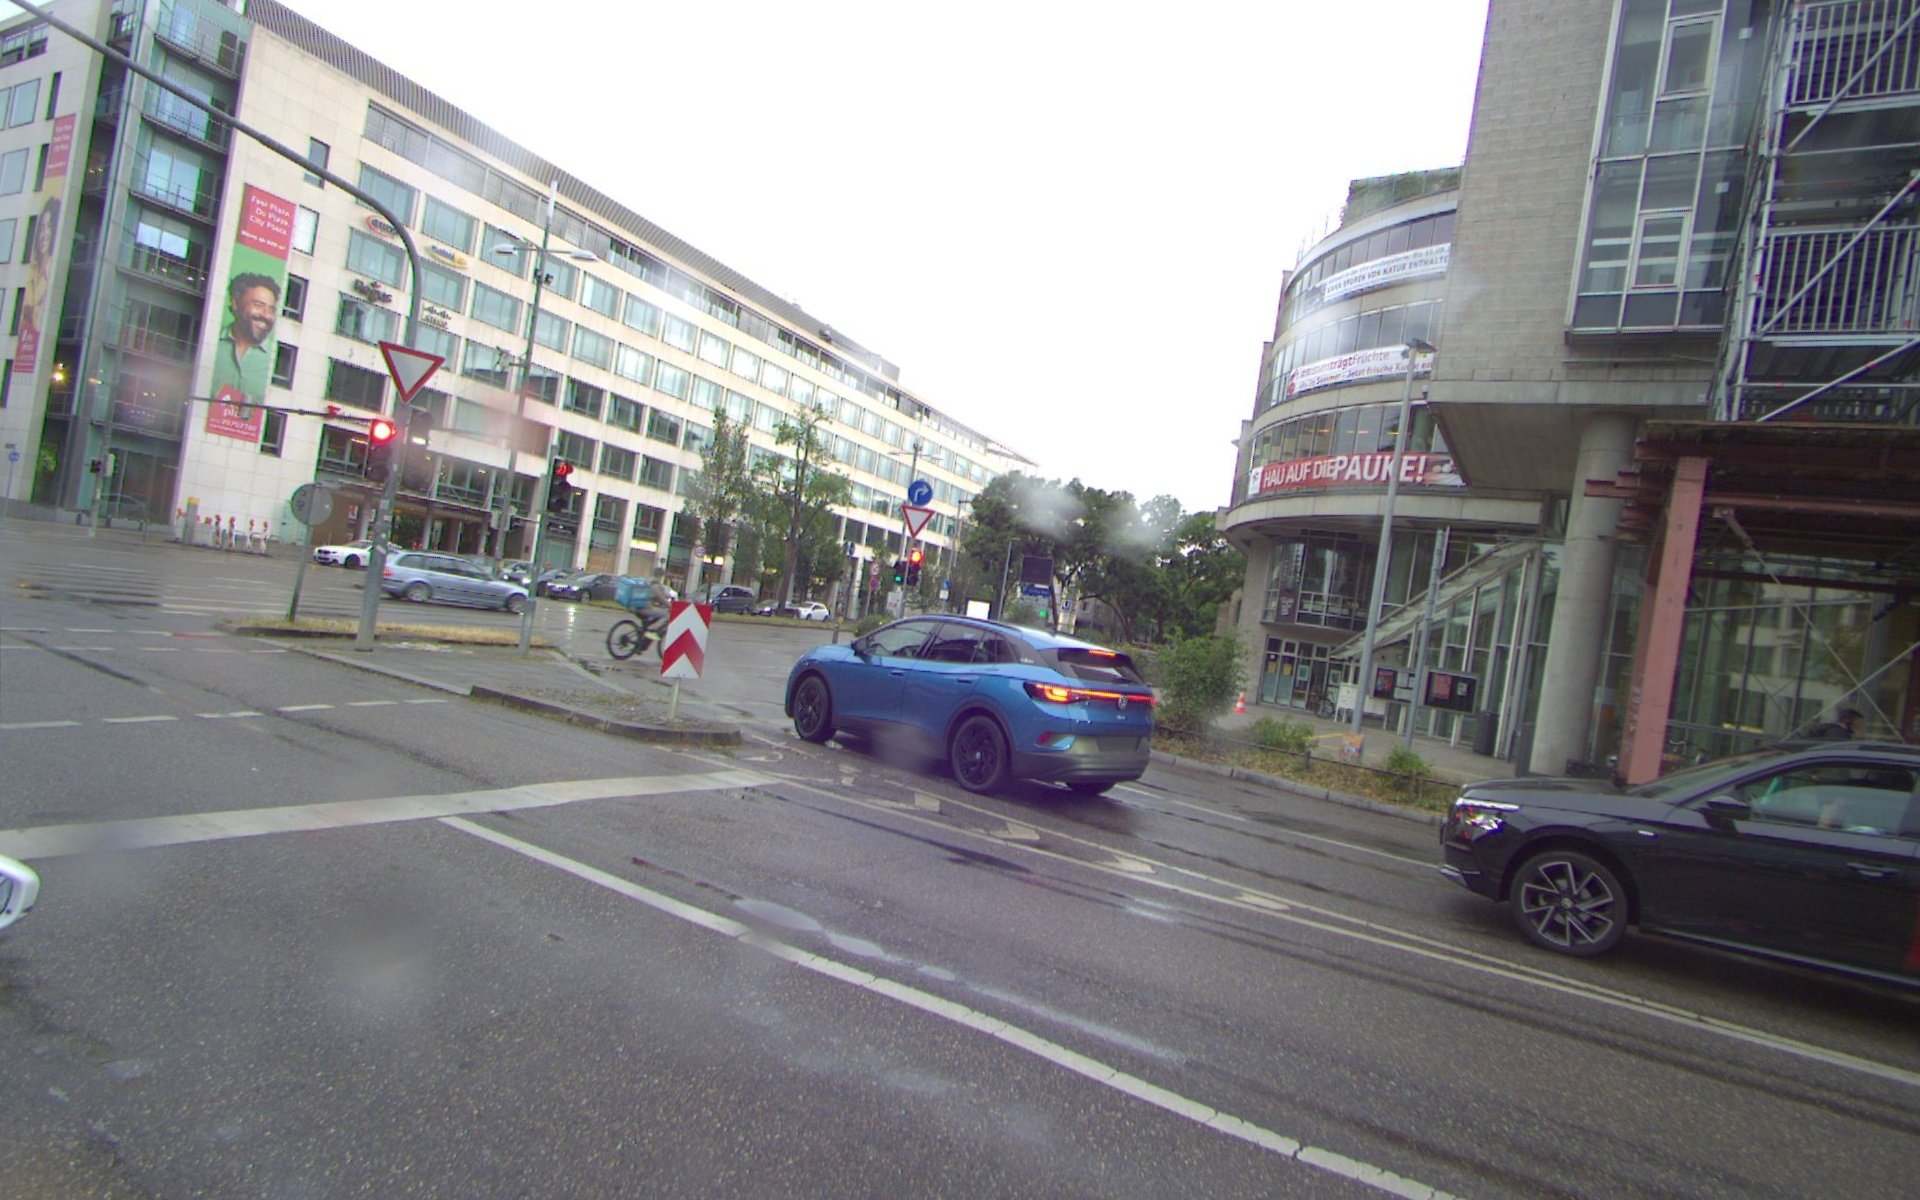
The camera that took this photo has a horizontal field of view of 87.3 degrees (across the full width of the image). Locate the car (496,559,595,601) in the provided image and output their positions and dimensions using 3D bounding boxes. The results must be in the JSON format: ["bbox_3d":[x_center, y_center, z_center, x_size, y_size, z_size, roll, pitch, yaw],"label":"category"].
[{"bbox_3d":[-19.191,-0.883,46.767,1.690,1.364,4.469,7,-2,17],"label":"car"}]

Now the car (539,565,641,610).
[{"bbox_3d":[-16.501,-0.512,45.093,1.690,1.481,4.468,7,-2,19],"label":"car"}]

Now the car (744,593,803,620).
[{"bbox_3d":[-13.239,0.488,71.759,1.891,1.364,4.653,7,-2,21],"label":"car"}]

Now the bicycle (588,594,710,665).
[{"bbox_3d":[-5.782,0.574,18.857,0.833,1.116,2.152,7,-1,26],"label":"bicycle"}]

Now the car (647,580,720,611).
[{"bbox_3d":[-17.032,-0.239,62.278,1.891,1.364,4.653,7,-2,21],"label":"car"}]

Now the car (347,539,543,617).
[{"bbox_3d":[-14.477,-0.587,28.462,1.973,1.504,4.442,9,0,43],"label":"car"}]

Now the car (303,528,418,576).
[{"bbox_3d":[-28.698,-2.264,48.353,1.962,1.616,4.469,7,-1,17],"label":"car"}]

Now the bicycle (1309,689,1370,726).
[{"bbox_3d":[13.424,3.807,35.622,1.816,0.995,0.757,8,-1,12],"label":"bicycle"}]

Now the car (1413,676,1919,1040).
[{"bbox_3d":[5.226,1.560,6.201,4.080,1.558,1.780,7,-1,34],"label":"car"}]

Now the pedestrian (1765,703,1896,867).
[{"bbox_3d":[11.153,2.338,12.929,1.040,1.874,0.680,7,0,36],"label":"pedestrian"}]

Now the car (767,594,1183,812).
[{"bbox_3d":[-0.054,0.953,10.607,1.699,1.547,4.373,9,-2,-43],"label":"car"}]

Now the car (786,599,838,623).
[{"bbox_3d":[-12.081,0.922,82.509,1.892,1.364,4.650,7,-2,24],"label":"car"}]

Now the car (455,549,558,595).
[{"bbox_3d":[-21.869,-1.315,48.715,1.962,1.616,4.469,7,-1,17],"label":"car"}]

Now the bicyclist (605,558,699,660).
[{"bbox_3d":[-5.753,0.191,18.873,0.833,1.724,1.298,7,-1,26],"label":"bicyclist"}]

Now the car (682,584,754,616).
[{"bbox_3d":[-14.388,0.053,60.078,1.891,1.364,4.654,7,-2,19],"label":"car"}]
